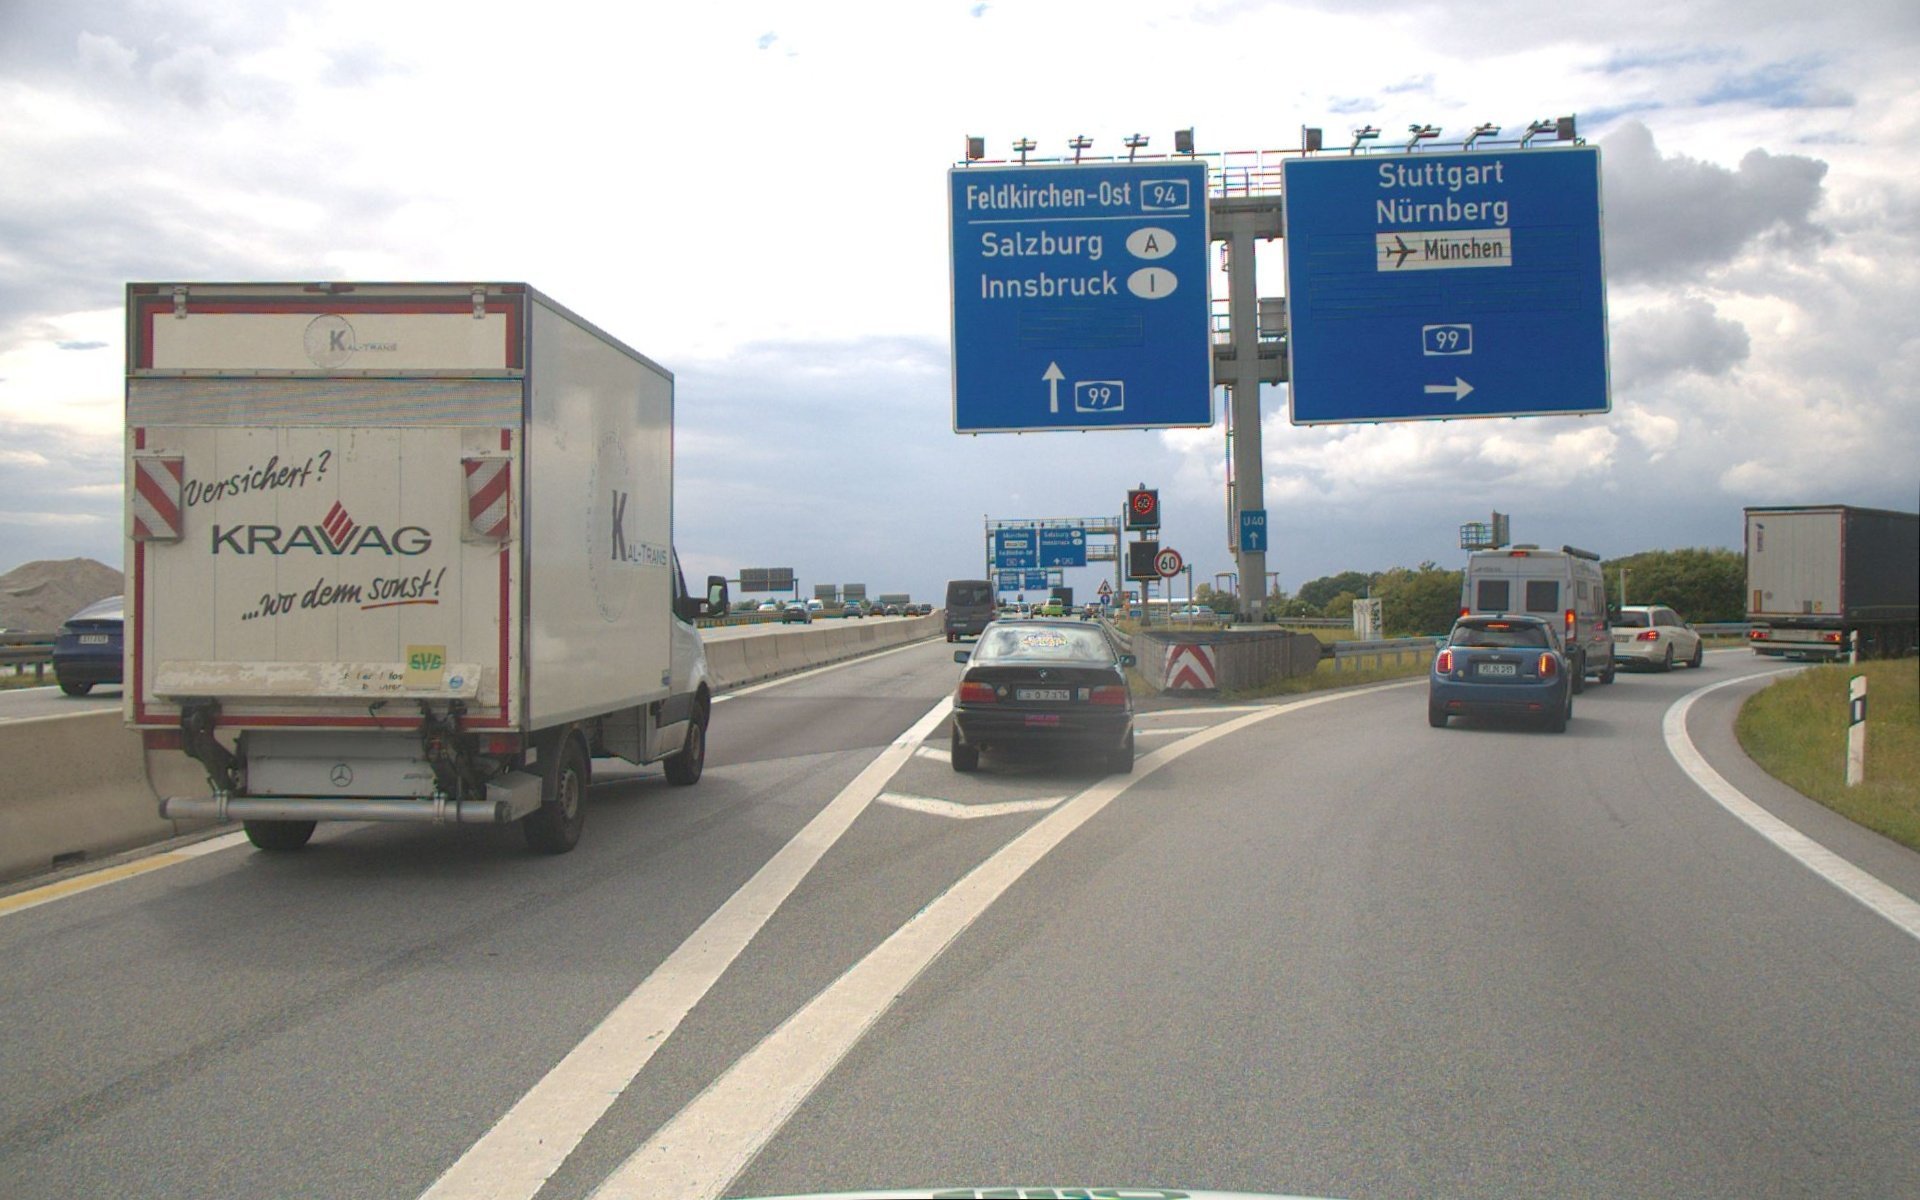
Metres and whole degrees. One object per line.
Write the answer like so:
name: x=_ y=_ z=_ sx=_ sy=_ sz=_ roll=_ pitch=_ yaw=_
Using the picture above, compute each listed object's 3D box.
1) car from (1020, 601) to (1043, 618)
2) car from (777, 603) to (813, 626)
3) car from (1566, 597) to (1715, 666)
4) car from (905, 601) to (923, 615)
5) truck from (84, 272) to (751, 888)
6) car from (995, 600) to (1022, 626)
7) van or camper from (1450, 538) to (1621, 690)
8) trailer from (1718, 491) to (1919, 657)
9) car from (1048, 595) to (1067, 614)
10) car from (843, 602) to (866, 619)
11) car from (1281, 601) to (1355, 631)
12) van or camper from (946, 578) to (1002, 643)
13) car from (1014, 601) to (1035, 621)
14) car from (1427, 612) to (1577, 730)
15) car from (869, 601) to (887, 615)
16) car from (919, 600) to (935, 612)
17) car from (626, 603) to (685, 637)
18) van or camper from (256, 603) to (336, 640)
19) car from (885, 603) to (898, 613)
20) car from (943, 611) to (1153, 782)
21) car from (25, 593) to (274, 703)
car: x=6.764 y=0.895 z=155.977 sx=1.951 sy=1.494 sz=4.003 roll=-1 pitch=0 yaw=6
car: x=-11.590 y=0.990 z=116.644 sx=2.017 sy=1.554 sz=4.568 roll=0 pitch=0 yaw=1
car: x=16.297 y=0.722 z=39.487 sx=2.170 sy=1.527 sz=4.768 roll=-1 pitch=0 yaw=37
car: x=-5.303 y=0.922 z=191.486 sx=1.737 sy=1.557 sz=4.001 roll=-1 pitch=0 yaw=2
truck: x=-3.194 y=-0.095 z=11.665 sx=2.354 sy=3.144 sz=6.372 roll=0 pitch=0 yaw=3
car: x=3.028 y=0.807 z=103.825 sx=1.666 sy=1.534 sz=3.841 roll=-1 pitch=0 yaw=2
van or camper: x=11.145 y=0.246 z=31.705 sx=2.249 sy=2.613 sz=6.153 roll=-1 pitch=0 yaw=27
trailer: x=26.297 y=-0.677 z=48.315 sx=3.286 sy=4.266 sz=12.937 roll=0 pitch=0 yaw=45
car: x=10.719 y=0.464 z=182.442 sx=1.952 sy=2.049 sz=4.000 roll=-1 pitch=0 yaw=1
car: x=-10.472 y=1.030 z=164.758 sx=1.861 sy=1.669 sz=4.646 roll=0 pitch=0 yaw=2
car: x=22.220 y=0.969 z=102.666 sx=1.981 sy=1.803 sz=4.186 roll=0 pitch=0 yaw=-40
van or camper: x=0.590 y=0.408 z=64.812 sx=1.958 sy=2.412 sz=6.128 roll=-1 pitch=0 yaw=2
car: x=5.037 y=0.879 z=129.091 sx=1.552 sy=1.510 sz=3.536 roll=-1 pitch=0 yaw=3
car: x=7.363 y=0.885 z=22.291 sx=1.694 sy=1.444 sz=3.665 roll=0 pitch=0 yaw=22
car: x=-9.732 y=0.921 z=196.805 sx=1.861 sy=1.667 sz=4.234 roll=0 pitch=0 yaw=2
car: x=-4.961 y=0.919 z=248.698 sx=1.952 sy=1.713 sz=4.868 roll=-1 pitch=0 yaw=2
car: x=-13.599 y=0.881 z=74.070 sx=1.735 sy=1.475 sz=4.384 roll=0 pitch=0 yaw=1
van or camper: x=-38.163 y=1.219 z=95.288 sx=2.190 sy=2.049 sz=6.276 roll=0 pitch=0 yaw=-1
car: x=-9.510 y=1.099 z=229.832 sx=1.520 sy=1.400 sz=4.001 roll=0 pitch=0 yaw=2
car: x=0.846 y=0.826 z=16.011 sx=1.745 sy=1.402 sz=4.138 roll=-1 pitch=0 yaw=3
car: x=-13.500 y=0.749 z=27.885 sx=1.952 sy=1.691 sz=4.384 roll=0 pitch=0 yaw=1
